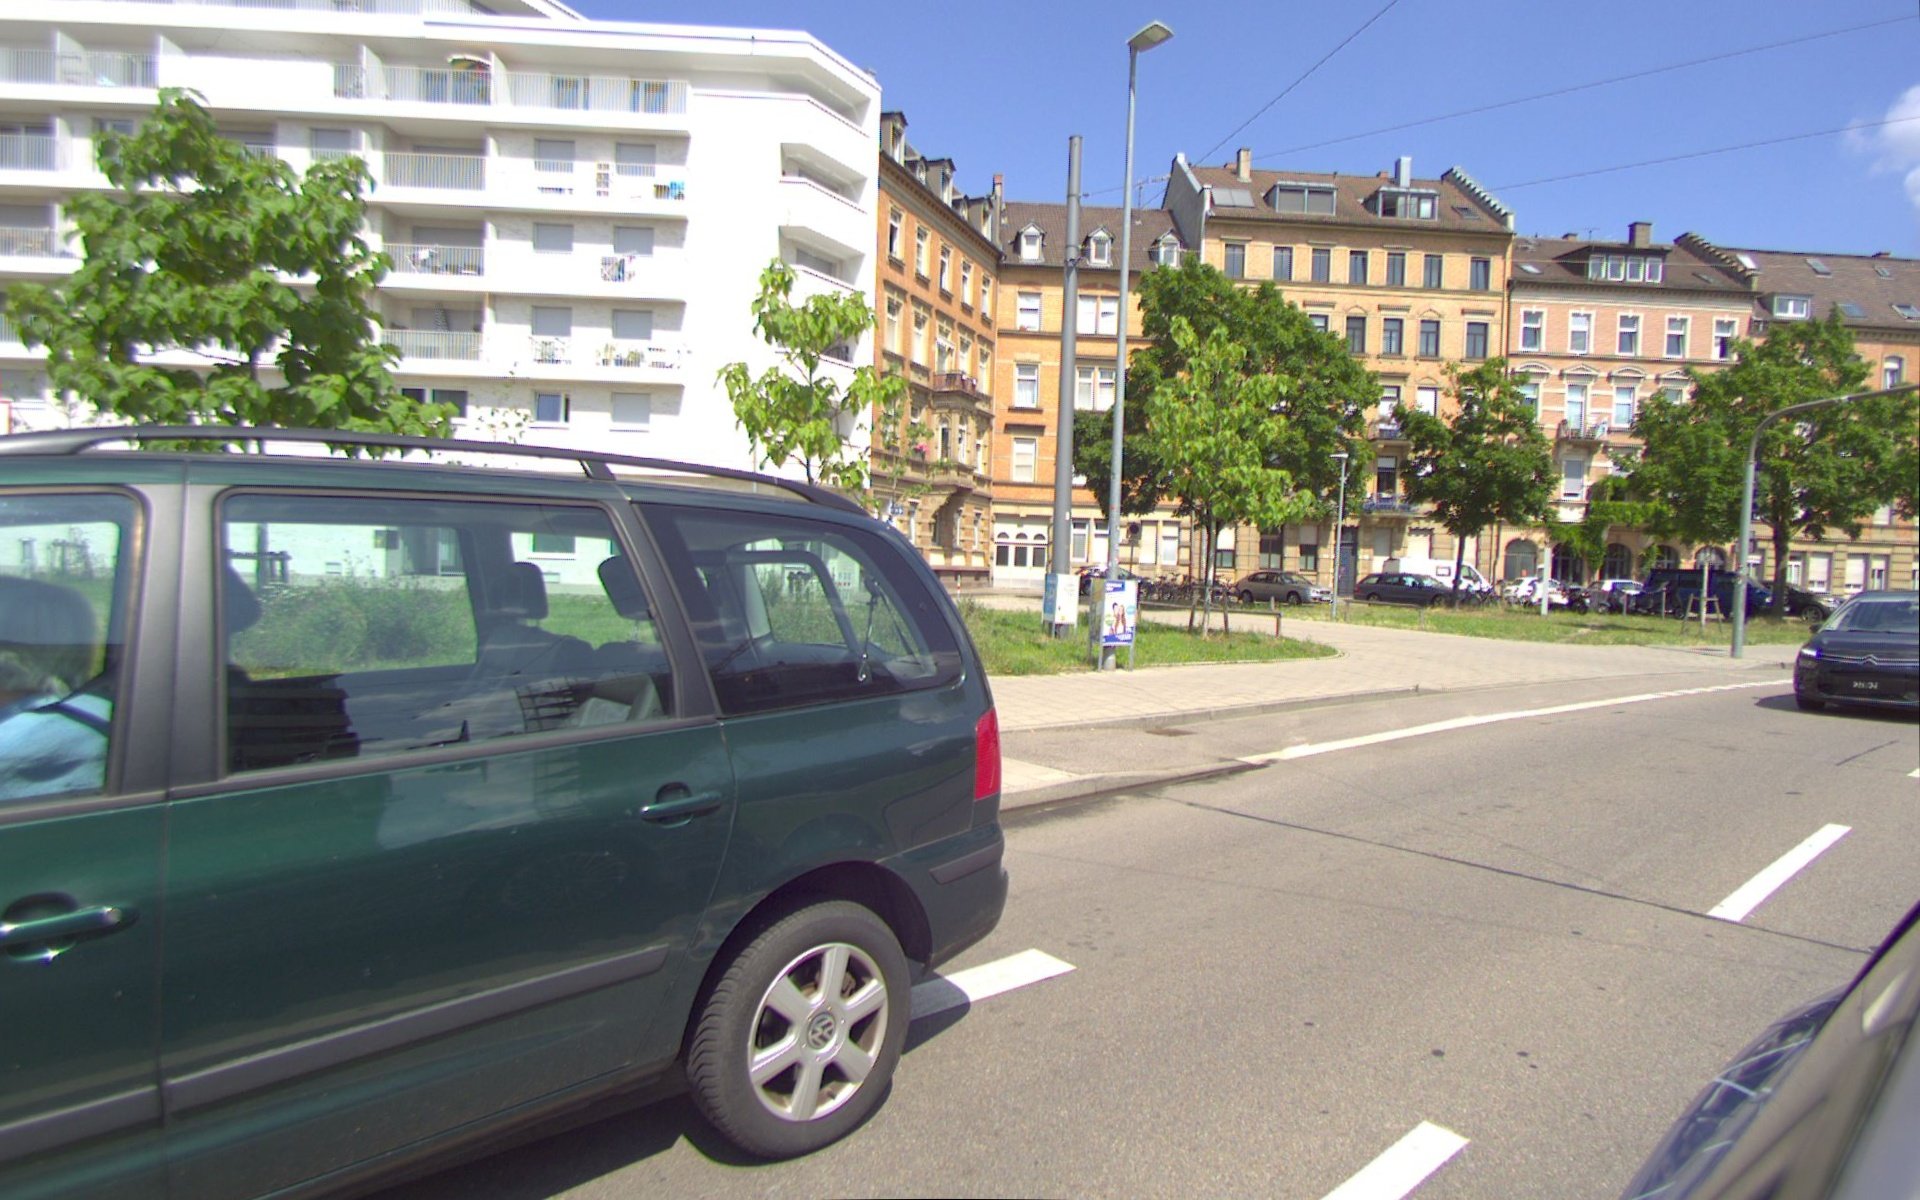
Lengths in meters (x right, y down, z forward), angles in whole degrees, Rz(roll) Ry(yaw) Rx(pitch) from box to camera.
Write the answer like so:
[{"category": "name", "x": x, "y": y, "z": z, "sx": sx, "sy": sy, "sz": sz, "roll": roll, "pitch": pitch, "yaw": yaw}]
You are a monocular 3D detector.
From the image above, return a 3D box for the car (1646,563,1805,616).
[{"category": "car", "x": 30.064, "y": -0.449, "z": 39.908, "sx": 1.879, "sy": 1.951, "sz": 4.633, "roll": 1, "pitch": 1, "yaw": -32}]

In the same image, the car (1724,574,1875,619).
[{"category": "car", "x": 33.076, "y": -0.165, "z": 39.981, "sx": 1.878, "sy": 1.677, "sz": 4.181, "roll": 1, "pitch": 1, "yaw": -28}]

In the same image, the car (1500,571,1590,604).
[{"category": "car", "x": 27.872, "y": -0.603, "z": 48.280, "sx": 3.287, "sy": 1.420, "sz": 1.569, "roll": 2, "pitch": 2, "yaw": 1}]

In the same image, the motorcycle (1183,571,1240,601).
[{"category": "motorcycle", "x": 9.818, "y": -0.569, "z": 39.625, "sx": 0.796, "sy": 1.139, "sz": 2.396, "roll": 1, "pitch": 1, "yaw": -25}]

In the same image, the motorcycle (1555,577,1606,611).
[{"category": "motorcycle", "x": 22.615, "y": -0.234, "z": 36.898, "sx": 0.627, "sy": 1.181, "sz": 1.791, "roll": 2, "pitch": 2, "yaw": -4}]

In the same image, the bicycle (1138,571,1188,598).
[{"category": "bicycle", "x": 7.759, "y": -0.608, "z": 38.757, "sx": 0.532, "sy": 0.981, "sz": 2.396, "roll": 1, "pitch": 1, "yaw": -25}]

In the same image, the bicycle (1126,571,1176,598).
[{"category": "bicycle", "x": 7.257, "y": -0.616, "z": 38.506, "sx": 0.532, "sy": 0.981, "sz": 2.396, "roll": 1, "pitch": 1, "yaw": -25}]

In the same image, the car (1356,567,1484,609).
[{"category": "car", "x": 17.824, "y": -0.484, "z": 39.402, "sx": 1.769, "sy": 1.445, "sz": 4.265, "roll": 1, "pitch": 2, "yaw": -31}]

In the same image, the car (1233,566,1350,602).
[{"category": "car", "x": 12.589, "y": -0.619, "z": 38.686, "sx": 1.825, "sy": 1.260, "sz": 4.172, "roll": 1, "pitch": 1, "yaw": -26}]

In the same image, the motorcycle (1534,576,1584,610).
[{"category": "motorcycle", "x": 21.786, "y": -0.277, "z": 36.864, "sx": 0.627, "sy": 1.181, "sz": 1.791, "roll": 2, "pitch": 2, "yaw": -4}]

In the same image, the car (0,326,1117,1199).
[{"category": "car", "x": -1.950, "y": 0.455, "z": 2.298, "sx": 4.944, "sy": 1.778, "sz": 1.822, "roll": 0, "pitch": 1, "yaw": -42}]

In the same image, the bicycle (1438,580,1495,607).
[{"category": "bicycle", "x": 18.014, "y": -0.234, "z": 36.019, "sx": 1.784, "sy": 0.912, "sz": 0.544, "roll": 1, "pitch": 0, "yaw": -5}]

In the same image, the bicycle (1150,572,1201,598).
[{"category": "bicycle", "x": 8.280, "y": -0.600, "z": 38.999, "sx": 0.532, "sy": 0.981, "sz": 2.396, "roll": 1, "pitch": 1, "yaw": -25}]

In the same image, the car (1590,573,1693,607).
[{"category": "car", "x": 32.613, "y": -0.485, "z": 48.499, "sx": 3.779, "sy": 1.510, "sz": 1.665, "roll": 1, "pitch": 1, "yaw": -1}]

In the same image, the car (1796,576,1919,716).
[{"category": "car", "x": 12.898, "y": 0.560, "z": 13.363, "sx": 4.110, "sy": 1.639, "sz": 1.877, "roll": 0, "pitch": 1, "yaw": -36}]

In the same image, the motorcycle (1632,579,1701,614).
[{"category": "motorcycle", "x": 25.269, "y": -0.141, "z": 36.197, "sx": 1.876, "sy": 1.181, "sz": 0.638, "roll": 2, "pitch": 1, "yaw": 11}]

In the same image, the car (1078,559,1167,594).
[{"category": "car", "x": 7.534, "y": -1.073, "z": 47.171, "sx": 3.779, "sy": 1.510, "sz": 1.665, "roll": 1, "pitch": 1, "yaw": -1}]

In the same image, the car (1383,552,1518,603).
[{"category": "car", "x": 23.157, "y": -1.052, "z": 47.941, "sx": 5.289, "sy": 2.206, "sz": 2.118, "roll": 1, "pitch": 1, "yaw": -1}]
